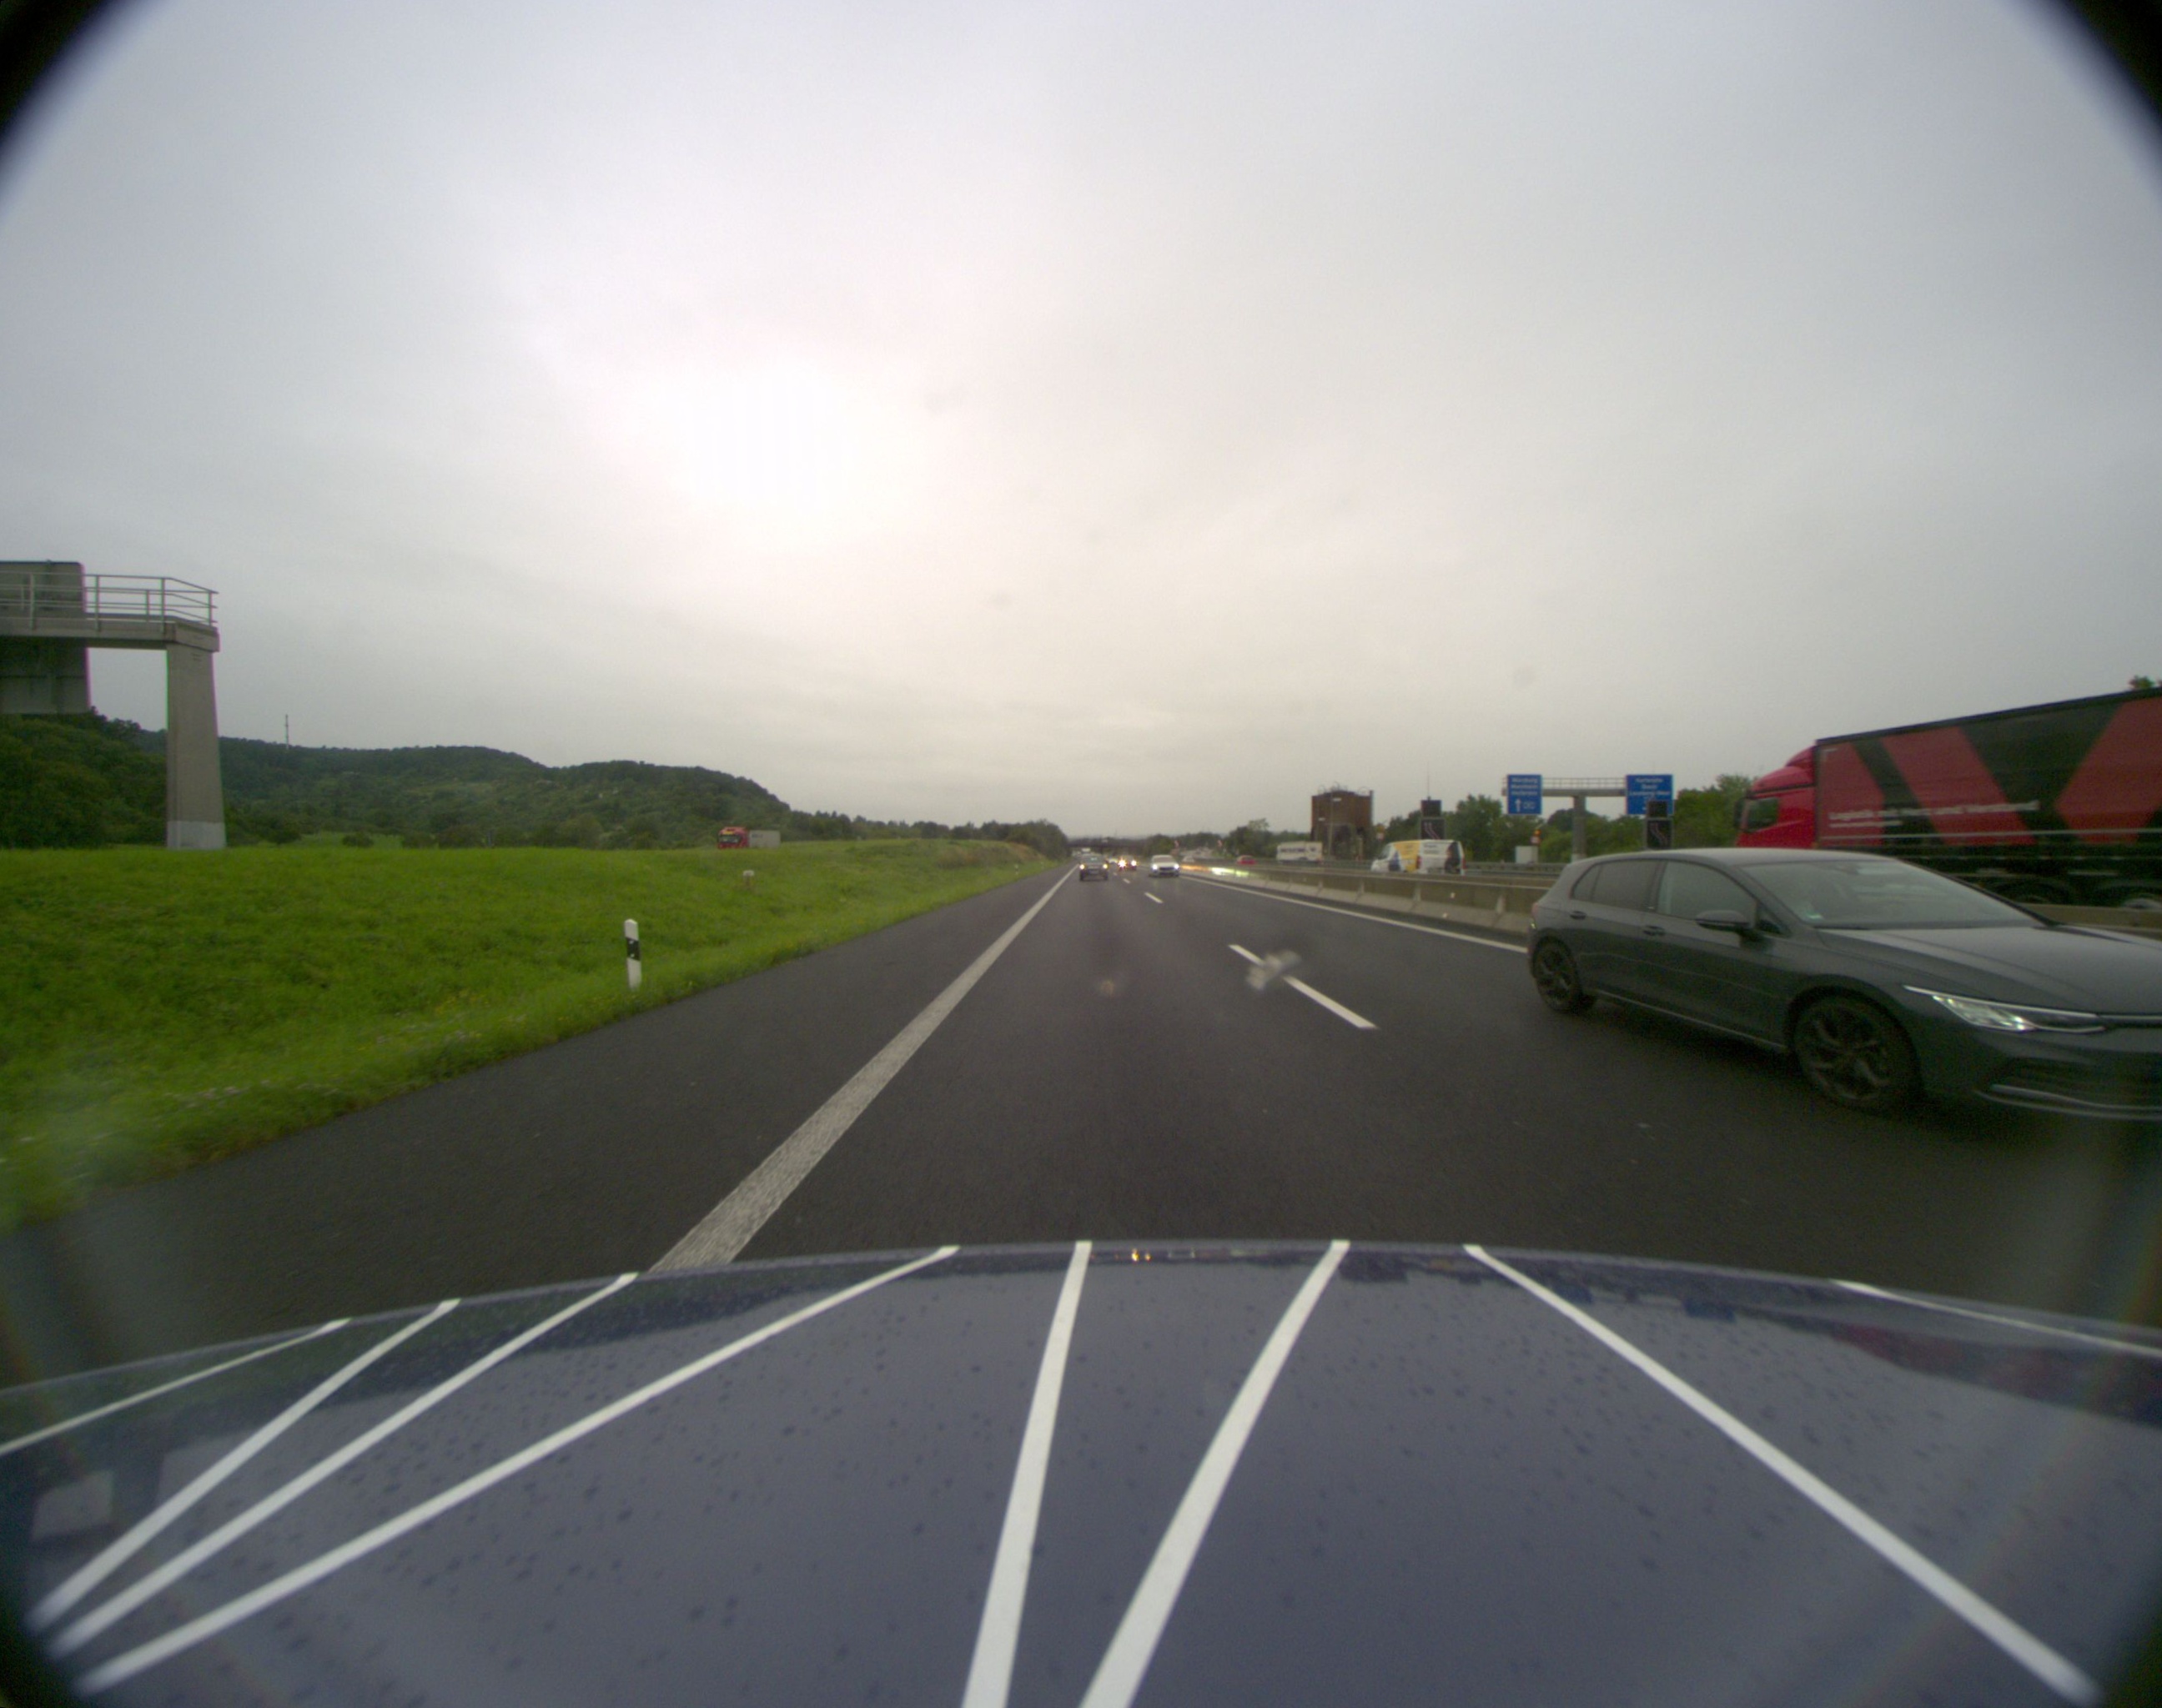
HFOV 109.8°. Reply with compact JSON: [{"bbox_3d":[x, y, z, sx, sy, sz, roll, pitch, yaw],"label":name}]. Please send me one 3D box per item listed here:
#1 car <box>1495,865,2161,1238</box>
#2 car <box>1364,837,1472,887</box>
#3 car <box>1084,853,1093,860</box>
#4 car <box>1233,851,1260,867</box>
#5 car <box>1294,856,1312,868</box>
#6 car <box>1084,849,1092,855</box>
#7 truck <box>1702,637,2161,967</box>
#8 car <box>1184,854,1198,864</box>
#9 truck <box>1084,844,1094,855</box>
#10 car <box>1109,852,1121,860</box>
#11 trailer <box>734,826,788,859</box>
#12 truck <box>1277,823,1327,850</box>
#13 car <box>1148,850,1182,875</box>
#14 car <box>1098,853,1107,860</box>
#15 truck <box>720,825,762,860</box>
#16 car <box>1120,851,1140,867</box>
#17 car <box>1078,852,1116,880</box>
[{"bbox_3d":[5.004,0.834,5.278,1.835,1.417,4.367,-2,0,0],"label":"car"},{"bbox_3d":[13.364,0.275,30.559,1.999,1.852,5.220,0,0,0],"label":"car"},{"bbox_3d":[1.671,0.566,174.433,1.942,1.341,4.000,-3,0,1],"label":"car"},{"bbox_3d":[17.571,0.519,80.867,1.728,1.543,4.582,-2,0,0],"label":"car"},{"bbox_3d":[30.263,1.078,103.712,1.575,1.475,4.048,-2,1,5],"label":"car"},{"bbox_3d":[1.723,-0.542,181.089,1.942,1.341,4.000,-3,0,1],"label":"car"},{"bbox_3d":[17.152,-0.793,13.630,3.408,4.705,10.484,-2,0,0],"label":"truck"},{"bbox_3d":[18.846,0.854,130.104,1.998,1.652,4.314,-1,0,3],"label":"car"},{"bbox_3d":[2.501,-1.336,234.561,2.728,3.098,7.960,-3,0,1],"label":"truck"},{"bbox_3d":[6.348,0.384,142.409,1.942,1.341,4.000,-3,0,0],"label":"car"},{"bbox_3d":[-41.019,-1.415,97.950,2.498,3.961,12.399,-2,1,-4],"label":"trailer"},{"bbox_3d":[34.204,-2.590,118.639,3.185,3.786,17.134,0,0,1],"label":"truck"},{"bbox_3d":[5.684,0.529,51.707,1.998,1.582,4.817,-2,0,3],"label":"car"},{"bbox_3d":[5.186,0.602,182.727,1.998,1.565,4.000,-2,0,1],"label":"car"},{"bbox_3d":[-40.542,-1.335,90.755,2.515,3.964,5.925,-2,1,-4],"label":"truck"},{"bbox_3d":[4.883,0.509,76.373,1.835,1.417,4.368,-3,0,2],"label":"car"},{"bbox_3d":[1.046,0.691,47.777,2.242,1.565,4.817,-2,0,2],"label":"car"}]
